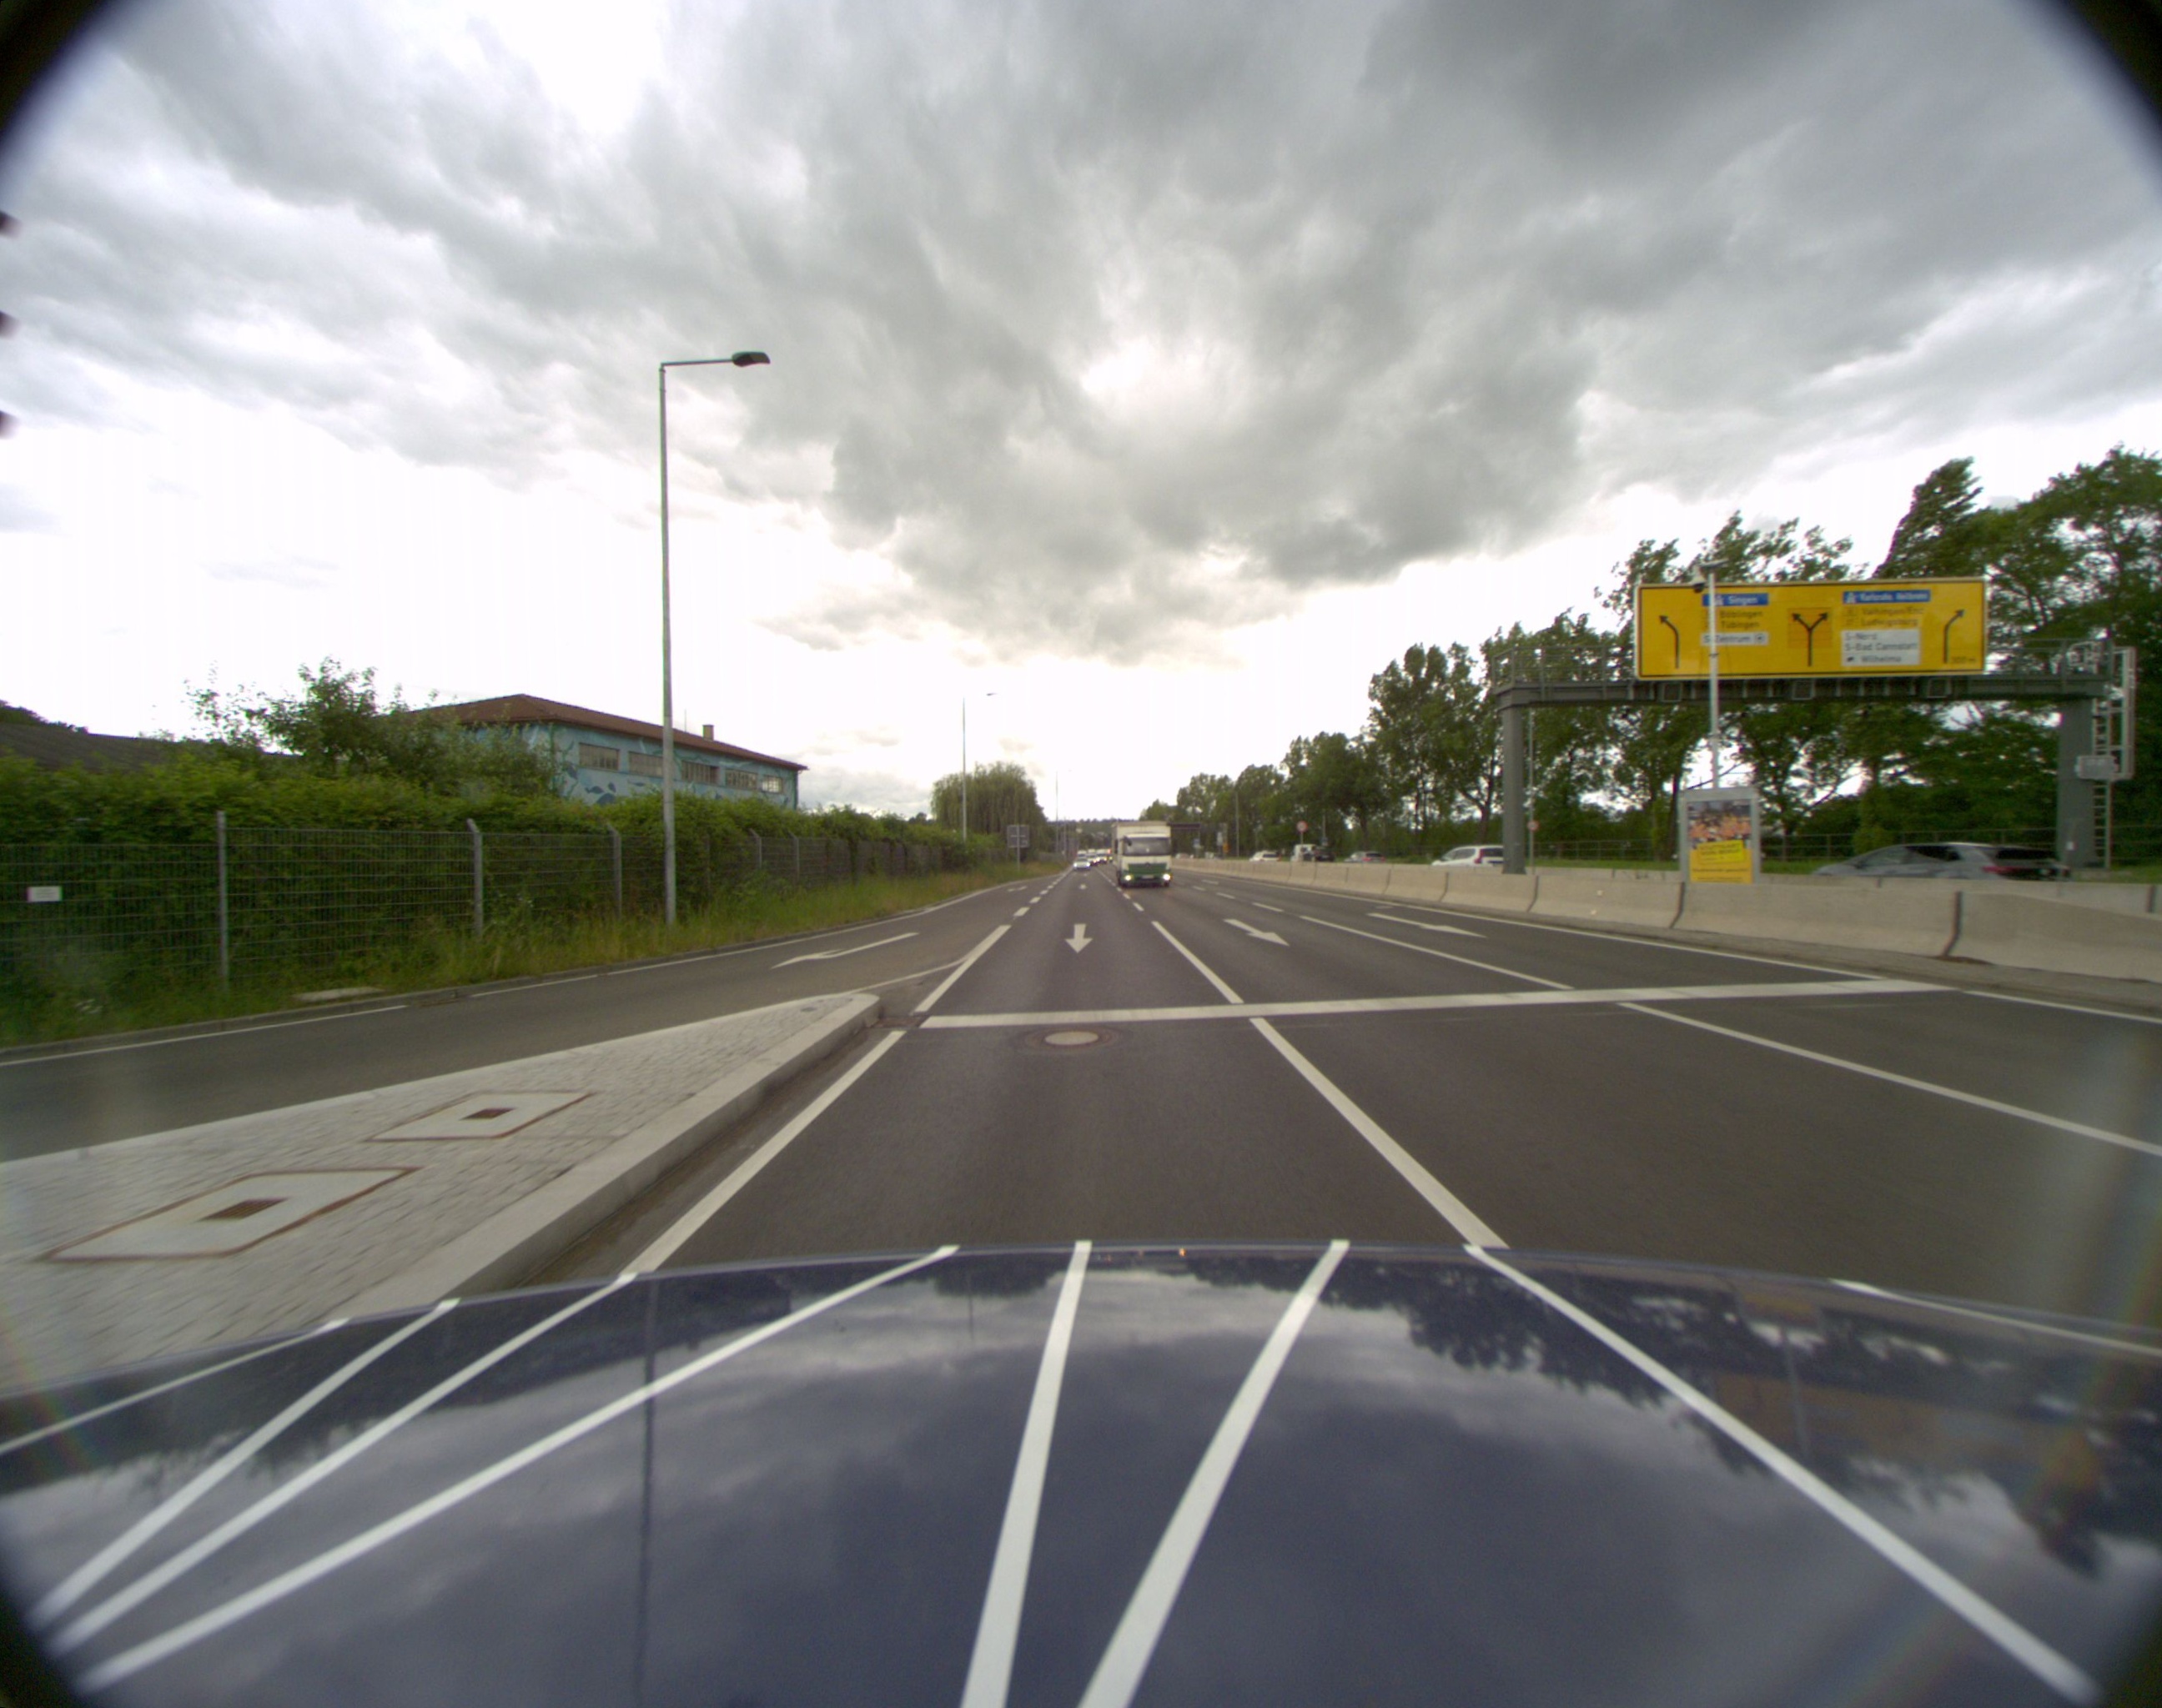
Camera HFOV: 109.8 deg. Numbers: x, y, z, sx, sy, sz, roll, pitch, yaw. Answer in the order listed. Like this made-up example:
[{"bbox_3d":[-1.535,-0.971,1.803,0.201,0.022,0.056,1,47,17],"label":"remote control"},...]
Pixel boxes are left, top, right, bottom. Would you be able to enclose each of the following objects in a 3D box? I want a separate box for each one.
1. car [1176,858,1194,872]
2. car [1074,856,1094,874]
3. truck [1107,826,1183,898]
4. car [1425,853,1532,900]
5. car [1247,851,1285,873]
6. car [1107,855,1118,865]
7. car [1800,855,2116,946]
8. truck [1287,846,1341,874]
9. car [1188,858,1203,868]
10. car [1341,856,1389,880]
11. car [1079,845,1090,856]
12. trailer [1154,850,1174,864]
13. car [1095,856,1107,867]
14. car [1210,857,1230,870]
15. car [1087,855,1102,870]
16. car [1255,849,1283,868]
[{"bbox_3d":[15.085,1.588,110.531,1.998,2.001,4.682,-3,-1,1],"label":"car"},{"bbox_3d":[0.300,1.174,83.394,1.998,1.848,4.000,-3,-1,0],"label":"car"},{"bbox_3d":[3.024,0.416,38.390,2.943,3.064,8.387,-3,-1,-1],"label":"truck"},{"bbox_3d":[16.038,0.882,30.943,1.998,1.674,4.412,-3,-1,0],"label":"car"},{"bbox_3d":[15.657,0.682,64.543,1.998,1.658,4.695,-3,-1,0],"label":"car"},{"bbox_3d":[6.397,1.188,155.828,1.998,2.001,4.000,-3,-1,1],"label":"car"},{"bbox_3d":[19.123,0.944,16.951,1.998,1.646,4.288,-3,-1,0],"label":"car"},{"bbox_3d":[18.610,0.510,61.057,2.210,2.001,6.302,-3,-1,-1],"label":"truck"},{"bbox_3d":[20.950,1.673,139.558,1.998,1.728,4.470,-3,-1,0],"label":"car"},{"bbox_3d":[21.838,1.083,58.567,1.998,1.674,4.412,-3,-1,0],"label":"car"},{"bbox_3d":[0.654,-0.672,148.129,1.998,2.001,4.000,-3,-1,0],"label":"car"},{"bbox_3d":[20.388,0.877,188.020,3.109,3.201,11.667,-3,-1,-2],"label":"trailer"},{"bbox_3d":[3.752,1.365,141.273,1.998,2.001,4.000,-3,-1,0],"label":"car"},{"bbox_3d":[18.647,1.249,102.257,1.882,1.673,4.126,-3,-1,0],"label":"car"},{"bbox_3d":[1.949,1.194,109.668,1.998,2.001,4.000,-3,-1,0],"label":"car"},{"bbox_3d":[21.967,0.557,88.883,1.998,2.001,4.937,-3,-1,1],"label":"car"}]
